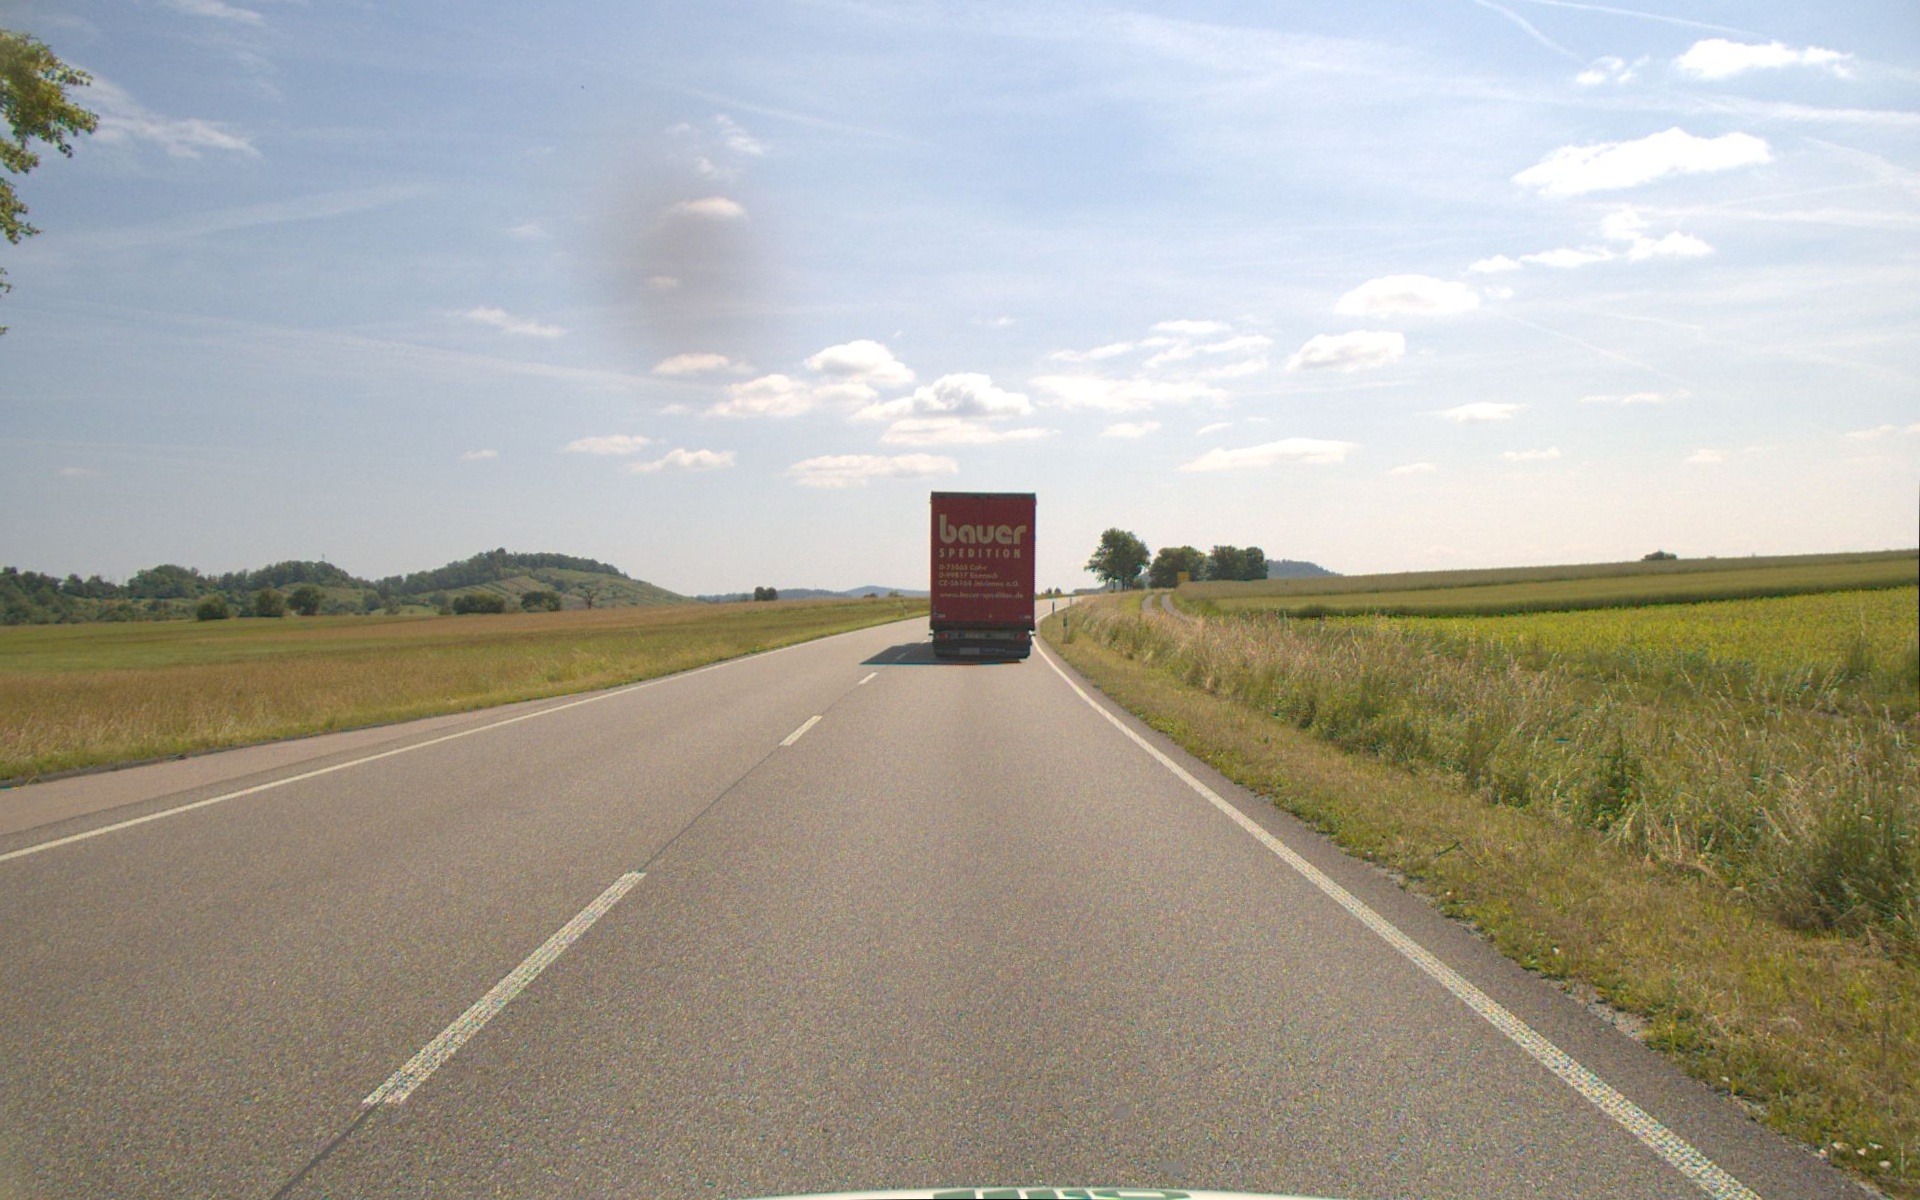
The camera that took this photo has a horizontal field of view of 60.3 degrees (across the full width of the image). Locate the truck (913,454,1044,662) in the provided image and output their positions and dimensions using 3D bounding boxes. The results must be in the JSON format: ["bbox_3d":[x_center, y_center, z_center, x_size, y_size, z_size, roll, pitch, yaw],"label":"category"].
[{"bbox_3d":[0.421,-0.987,43.561,2.914,4.795,9.365,2,0,0],"label":"truck"}]
